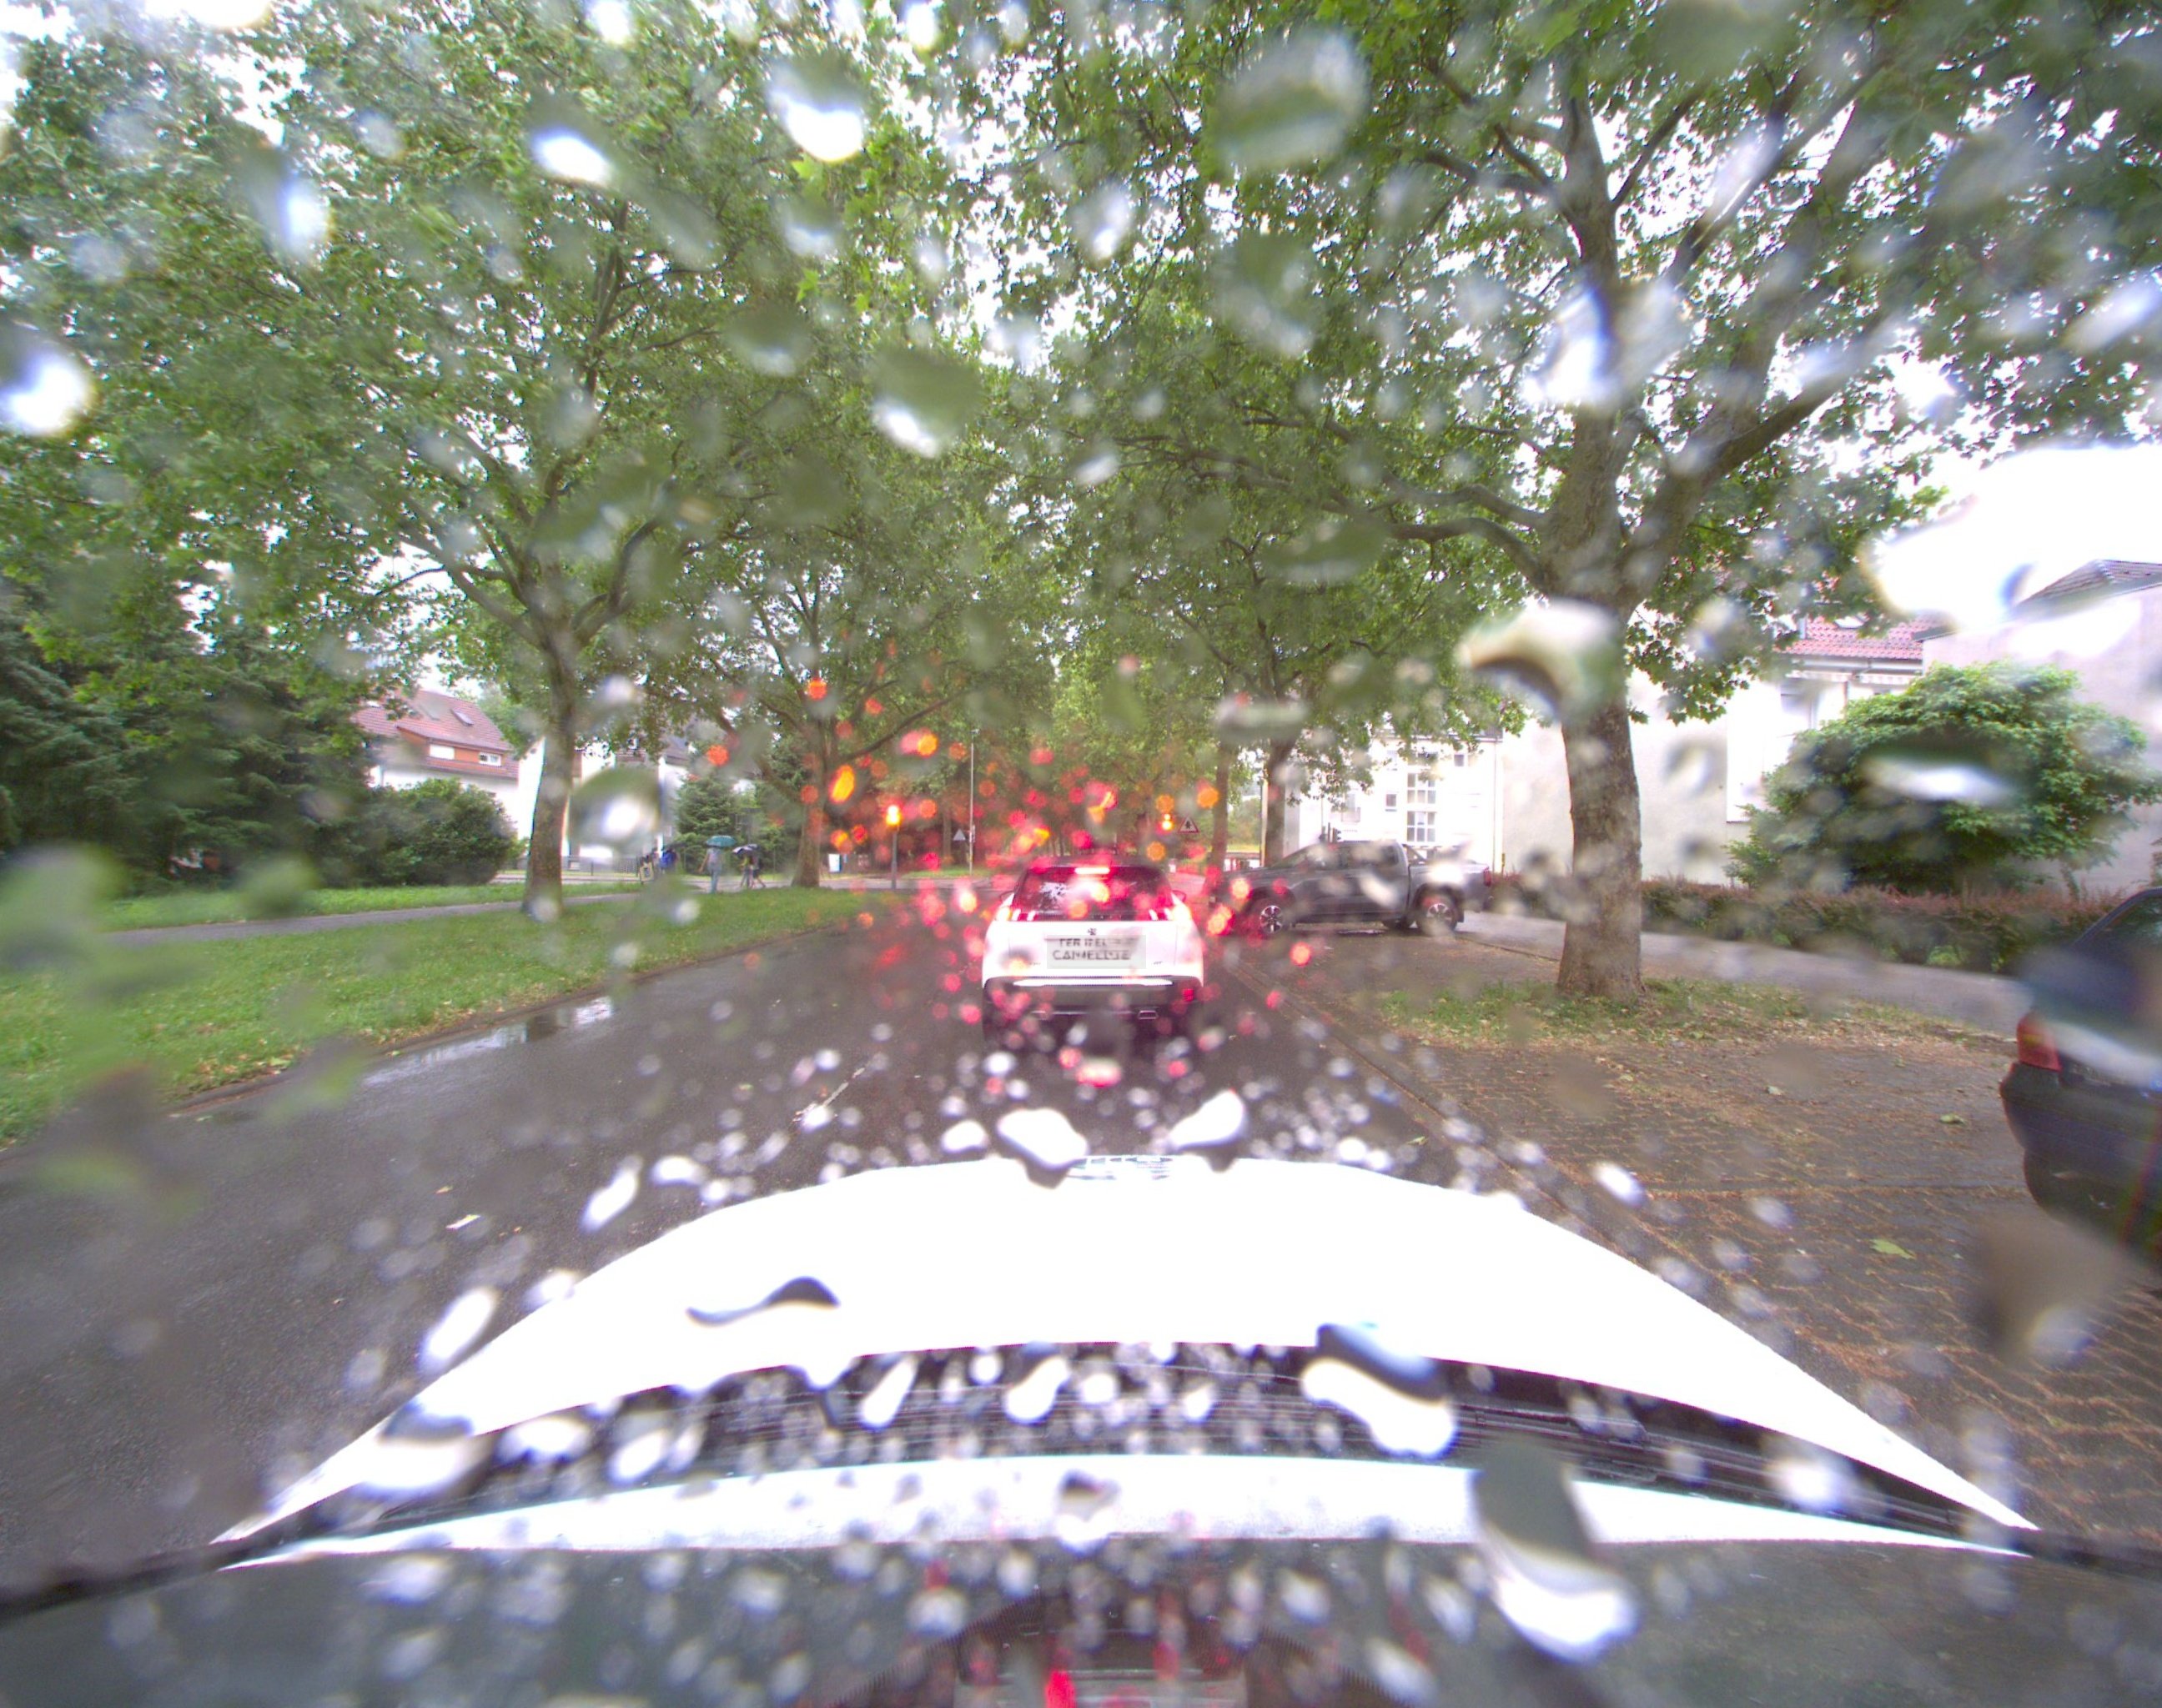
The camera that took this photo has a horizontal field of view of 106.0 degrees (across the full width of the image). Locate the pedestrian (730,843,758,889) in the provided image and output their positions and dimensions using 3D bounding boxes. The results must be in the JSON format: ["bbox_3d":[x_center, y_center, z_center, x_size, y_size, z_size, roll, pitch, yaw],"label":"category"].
[{"bbox_3d":[-13.195,0.463,31.891,0.818,1.744,0.639,1,0,-2],"label":"pedestrian"}]

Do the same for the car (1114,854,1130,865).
[{"bbox_3d":[5.621,0.730,111.809,1.901,1.510,3.928,1,0,-2],"label":"car"}]

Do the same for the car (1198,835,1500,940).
[{"bbox_3d":[5.136,0.605,15.958,5.330,1.806,1.842,-1,0,-6],"label":"car"}]

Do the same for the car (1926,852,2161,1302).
[{"bbox_3d":[5.189,0.731,2.602,3.344,1.464,1.618,0,0,0],"label":"car"}]

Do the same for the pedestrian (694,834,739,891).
[{"bbox_3d":[-11.426,0.268,25.540,1.029,1.765,0.838,0,0,1],"label":"pedestrian"}]

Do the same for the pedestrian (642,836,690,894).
[{"bbox_3d":[-12.984,0.334,25.486,1.029,1.765,0.879,0,0,1],"label":"pedestrian"}]

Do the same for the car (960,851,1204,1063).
[{"bbox_3d":[0.059,0.742,7.949,1.774,1.536,4.059,0,0,1],"label":"car"}]

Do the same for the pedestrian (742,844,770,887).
[{"bbox_3d":[-13.253,0.473,33.181,0.856,1.744,0.639,1,0,-2],"label":"pedestrian"}]
